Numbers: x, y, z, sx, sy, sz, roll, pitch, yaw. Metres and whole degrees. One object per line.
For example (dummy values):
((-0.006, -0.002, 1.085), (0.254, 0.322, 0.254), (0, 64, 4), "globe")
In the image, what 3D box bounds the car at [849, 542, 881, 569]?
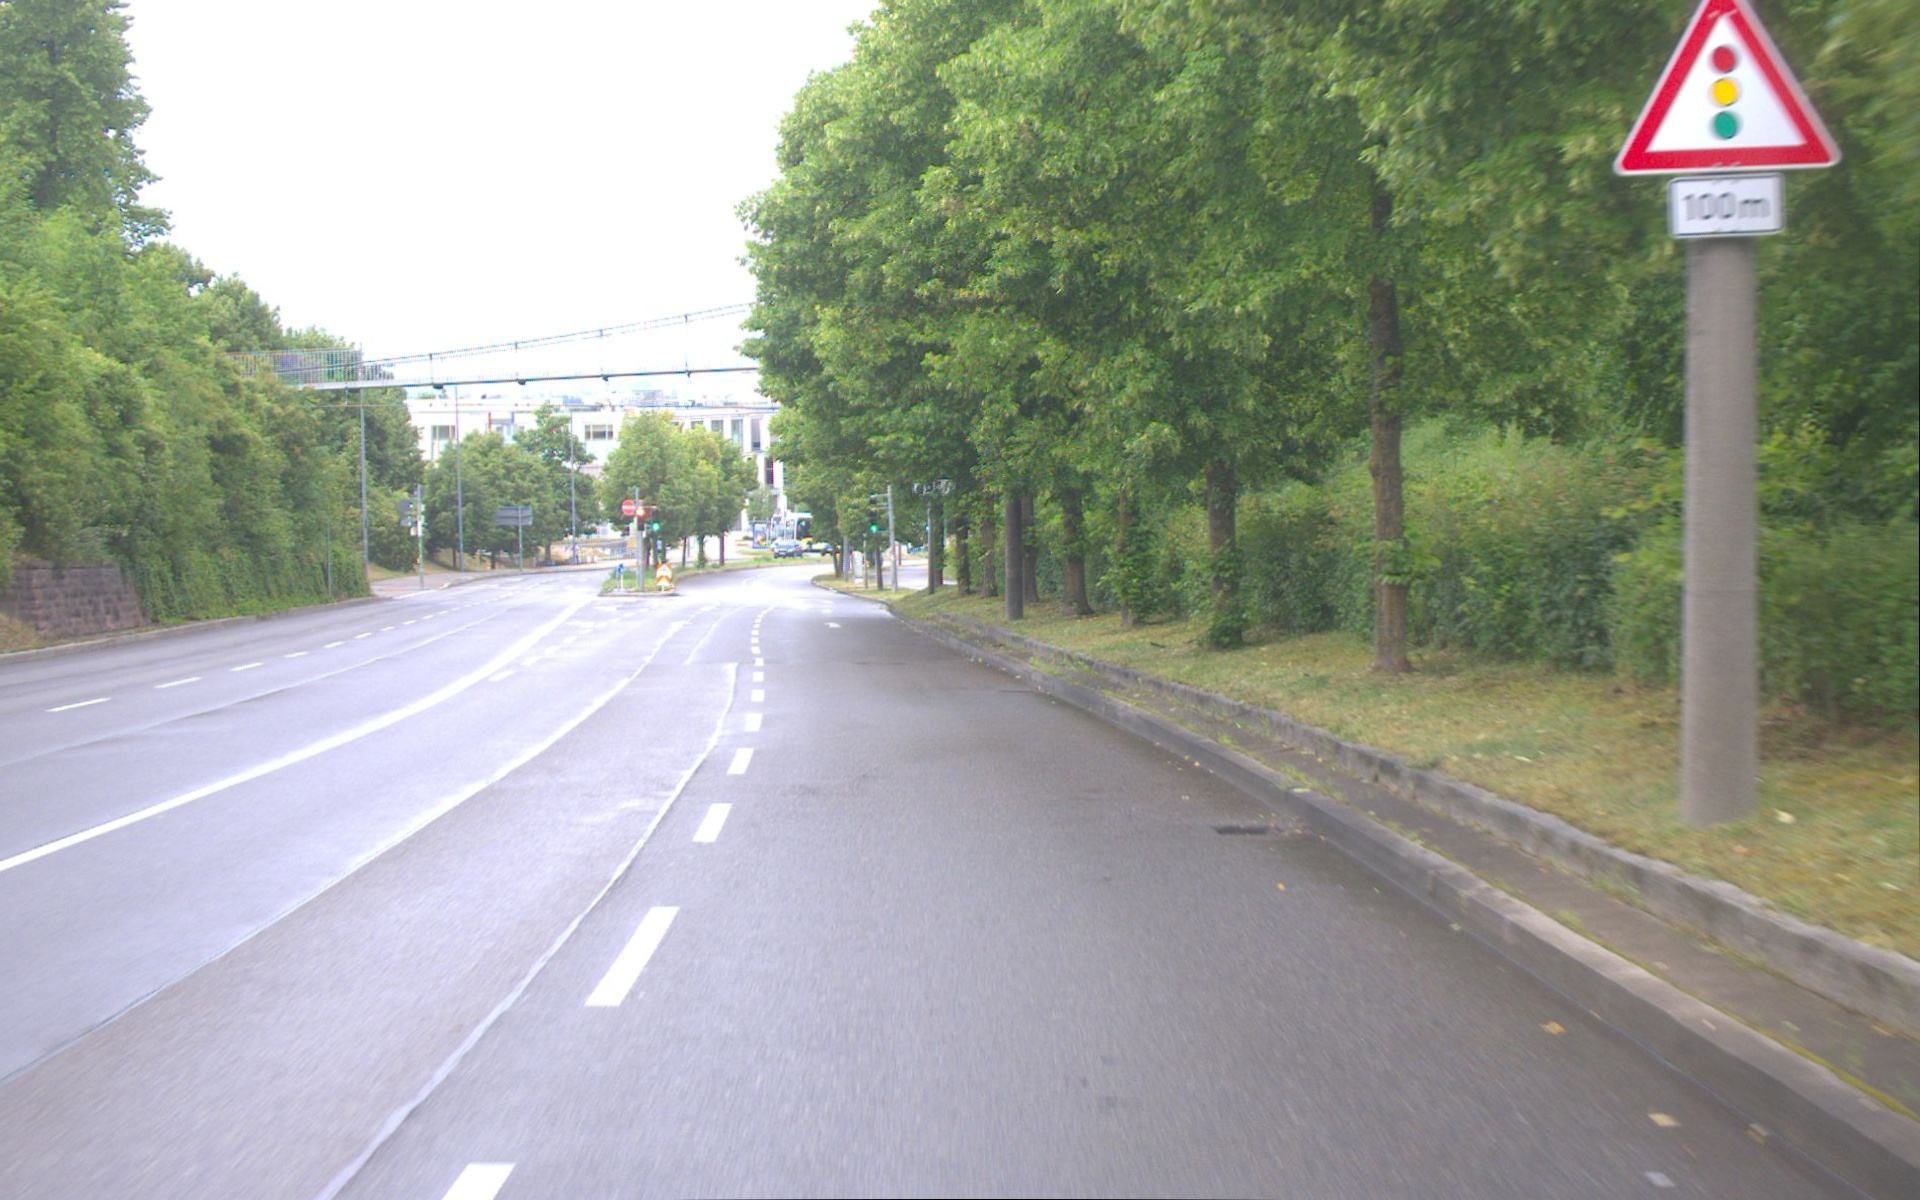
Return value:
((-6.416, -2.996, 232.178), (1.849, 1.696, 3.792), (1, 0, 3), "car")
